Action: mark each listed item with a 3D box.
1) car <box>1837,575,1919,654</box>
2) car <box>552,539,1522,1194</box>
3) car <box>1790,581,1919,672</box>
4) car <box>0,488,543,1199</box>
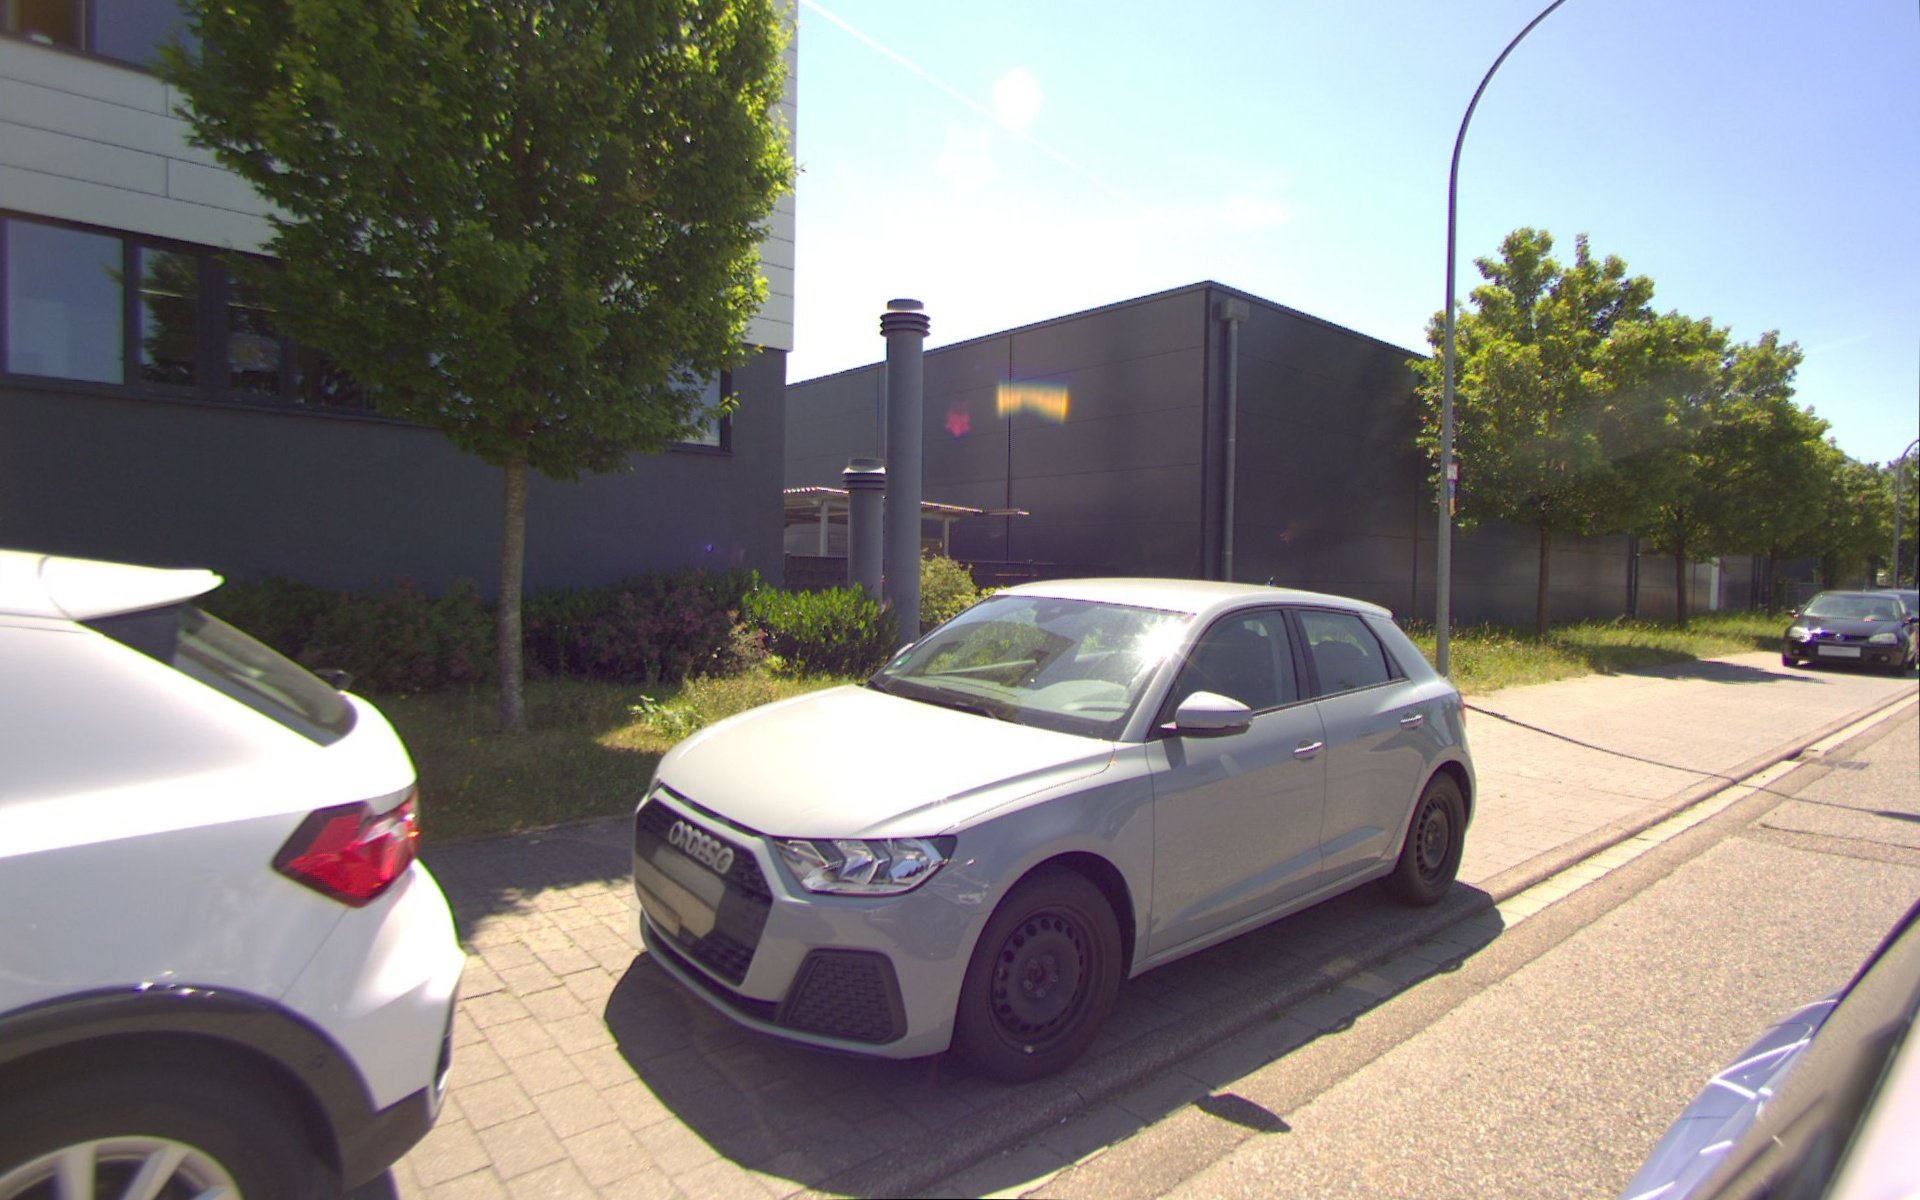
[{"bbox_3d":[21.963,0.302,23.466,4.633,1.637,1.811,0,3,-42],"label":"car"},{"bbox_3d":[0.590,0.558,4.192,3.881,1.440,1.720,0,4,-40],"label":"car"},{"bbox_3d":[17.384,0.428,19.317,4.195,1.494,1.695,0,3,-42],"label":"car"},{"bbox_3d":[-2.850,0.536,1.272,3.960,1.498,1.720,0,4,-40],"label":"car"}]
